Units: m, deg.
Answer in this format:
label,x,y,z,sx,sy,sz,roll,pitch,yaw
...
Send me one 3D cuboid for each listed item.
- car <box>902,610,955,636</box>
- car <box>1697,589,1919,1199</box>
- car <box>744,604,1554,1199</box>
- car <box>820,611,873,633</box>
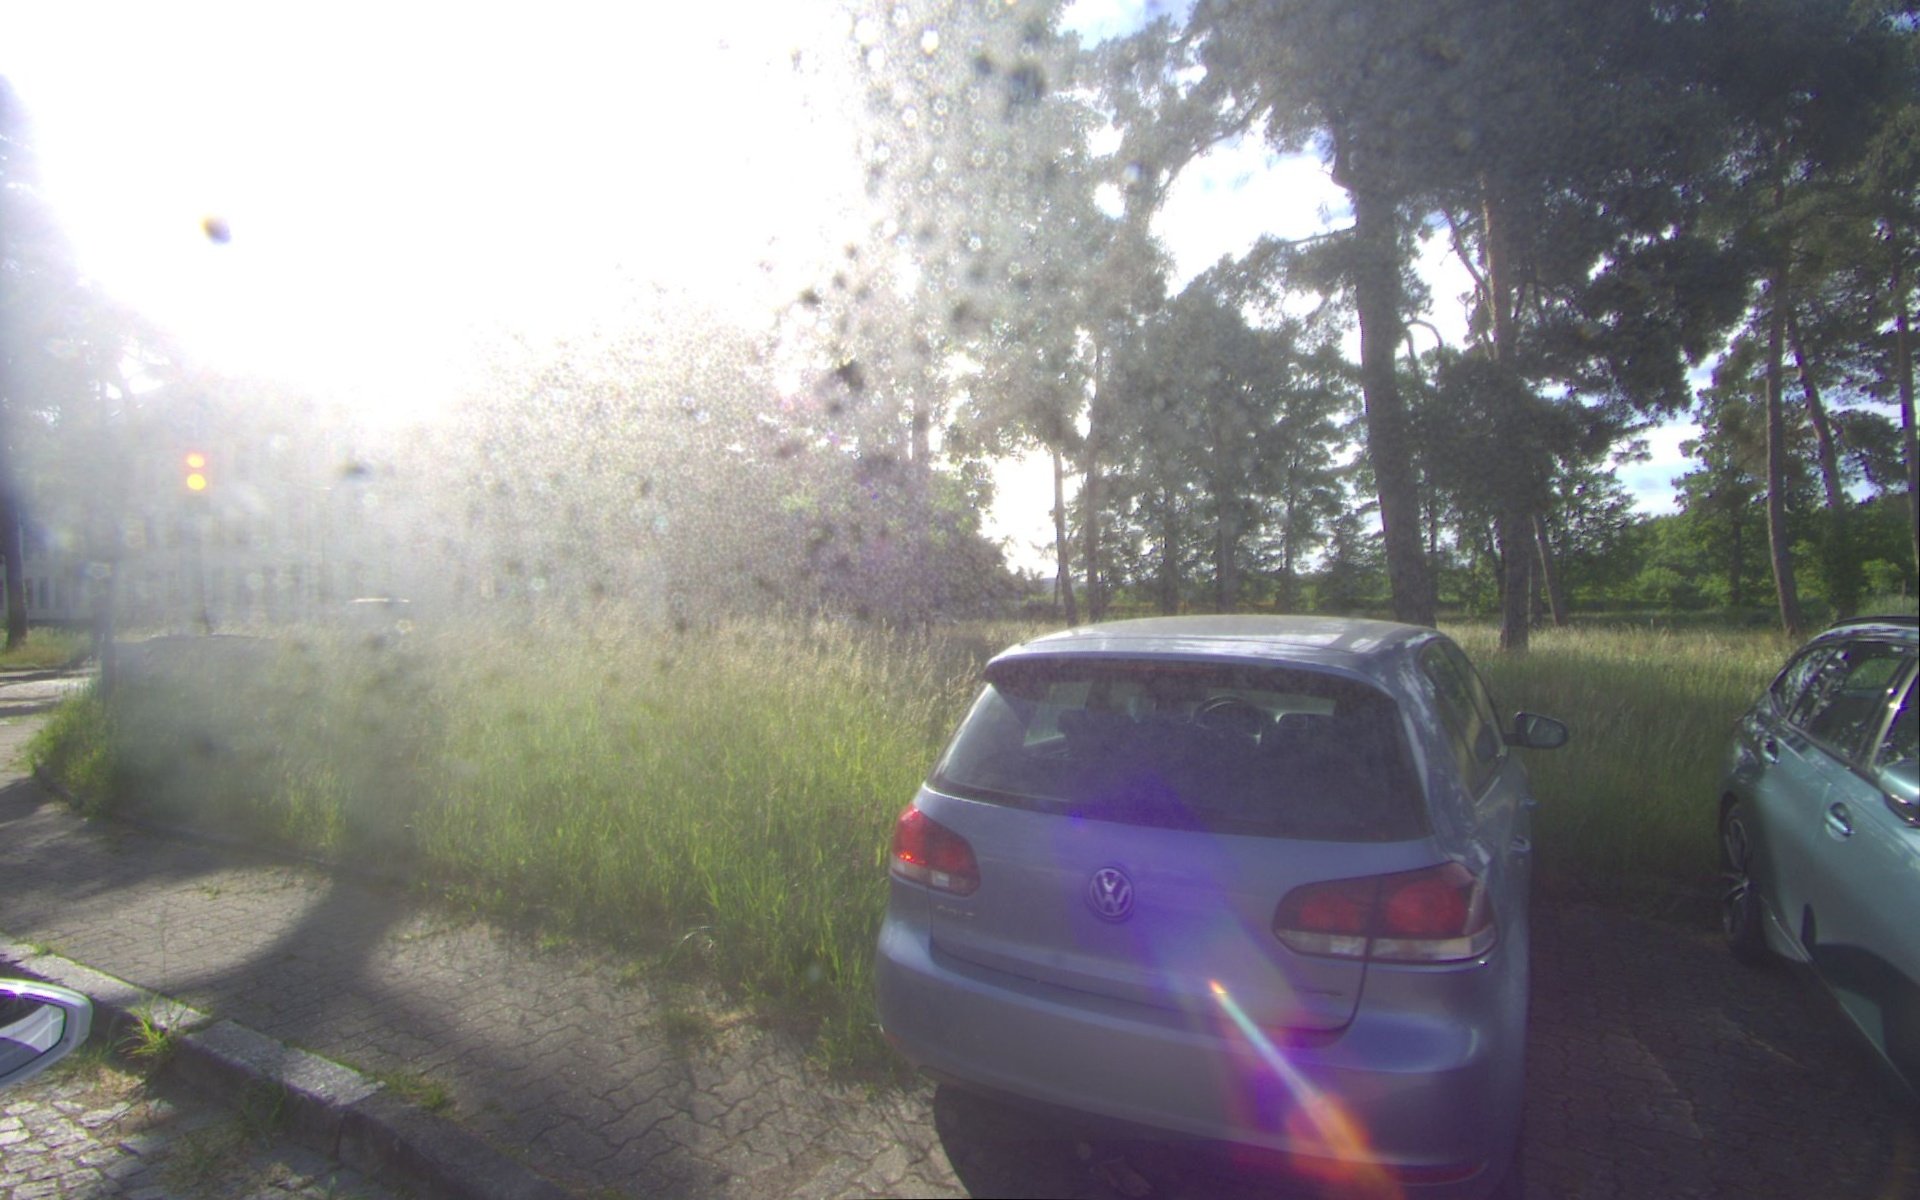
label,x,y,z,sx,sy,sz,roll,pitch,yaw
car,-2.045,1.506,66.479,1.826,1.619,3.985,0,-1,27
car,3.425,0.739,2.553,1.797,1.537,4.491,0,1,27
car,1.230,0.772,3.921,1.843,1.480,4.009,0,0,30
car,-7.987,1.542,70.898,1.818,1.483,3.985,0,-1,27
